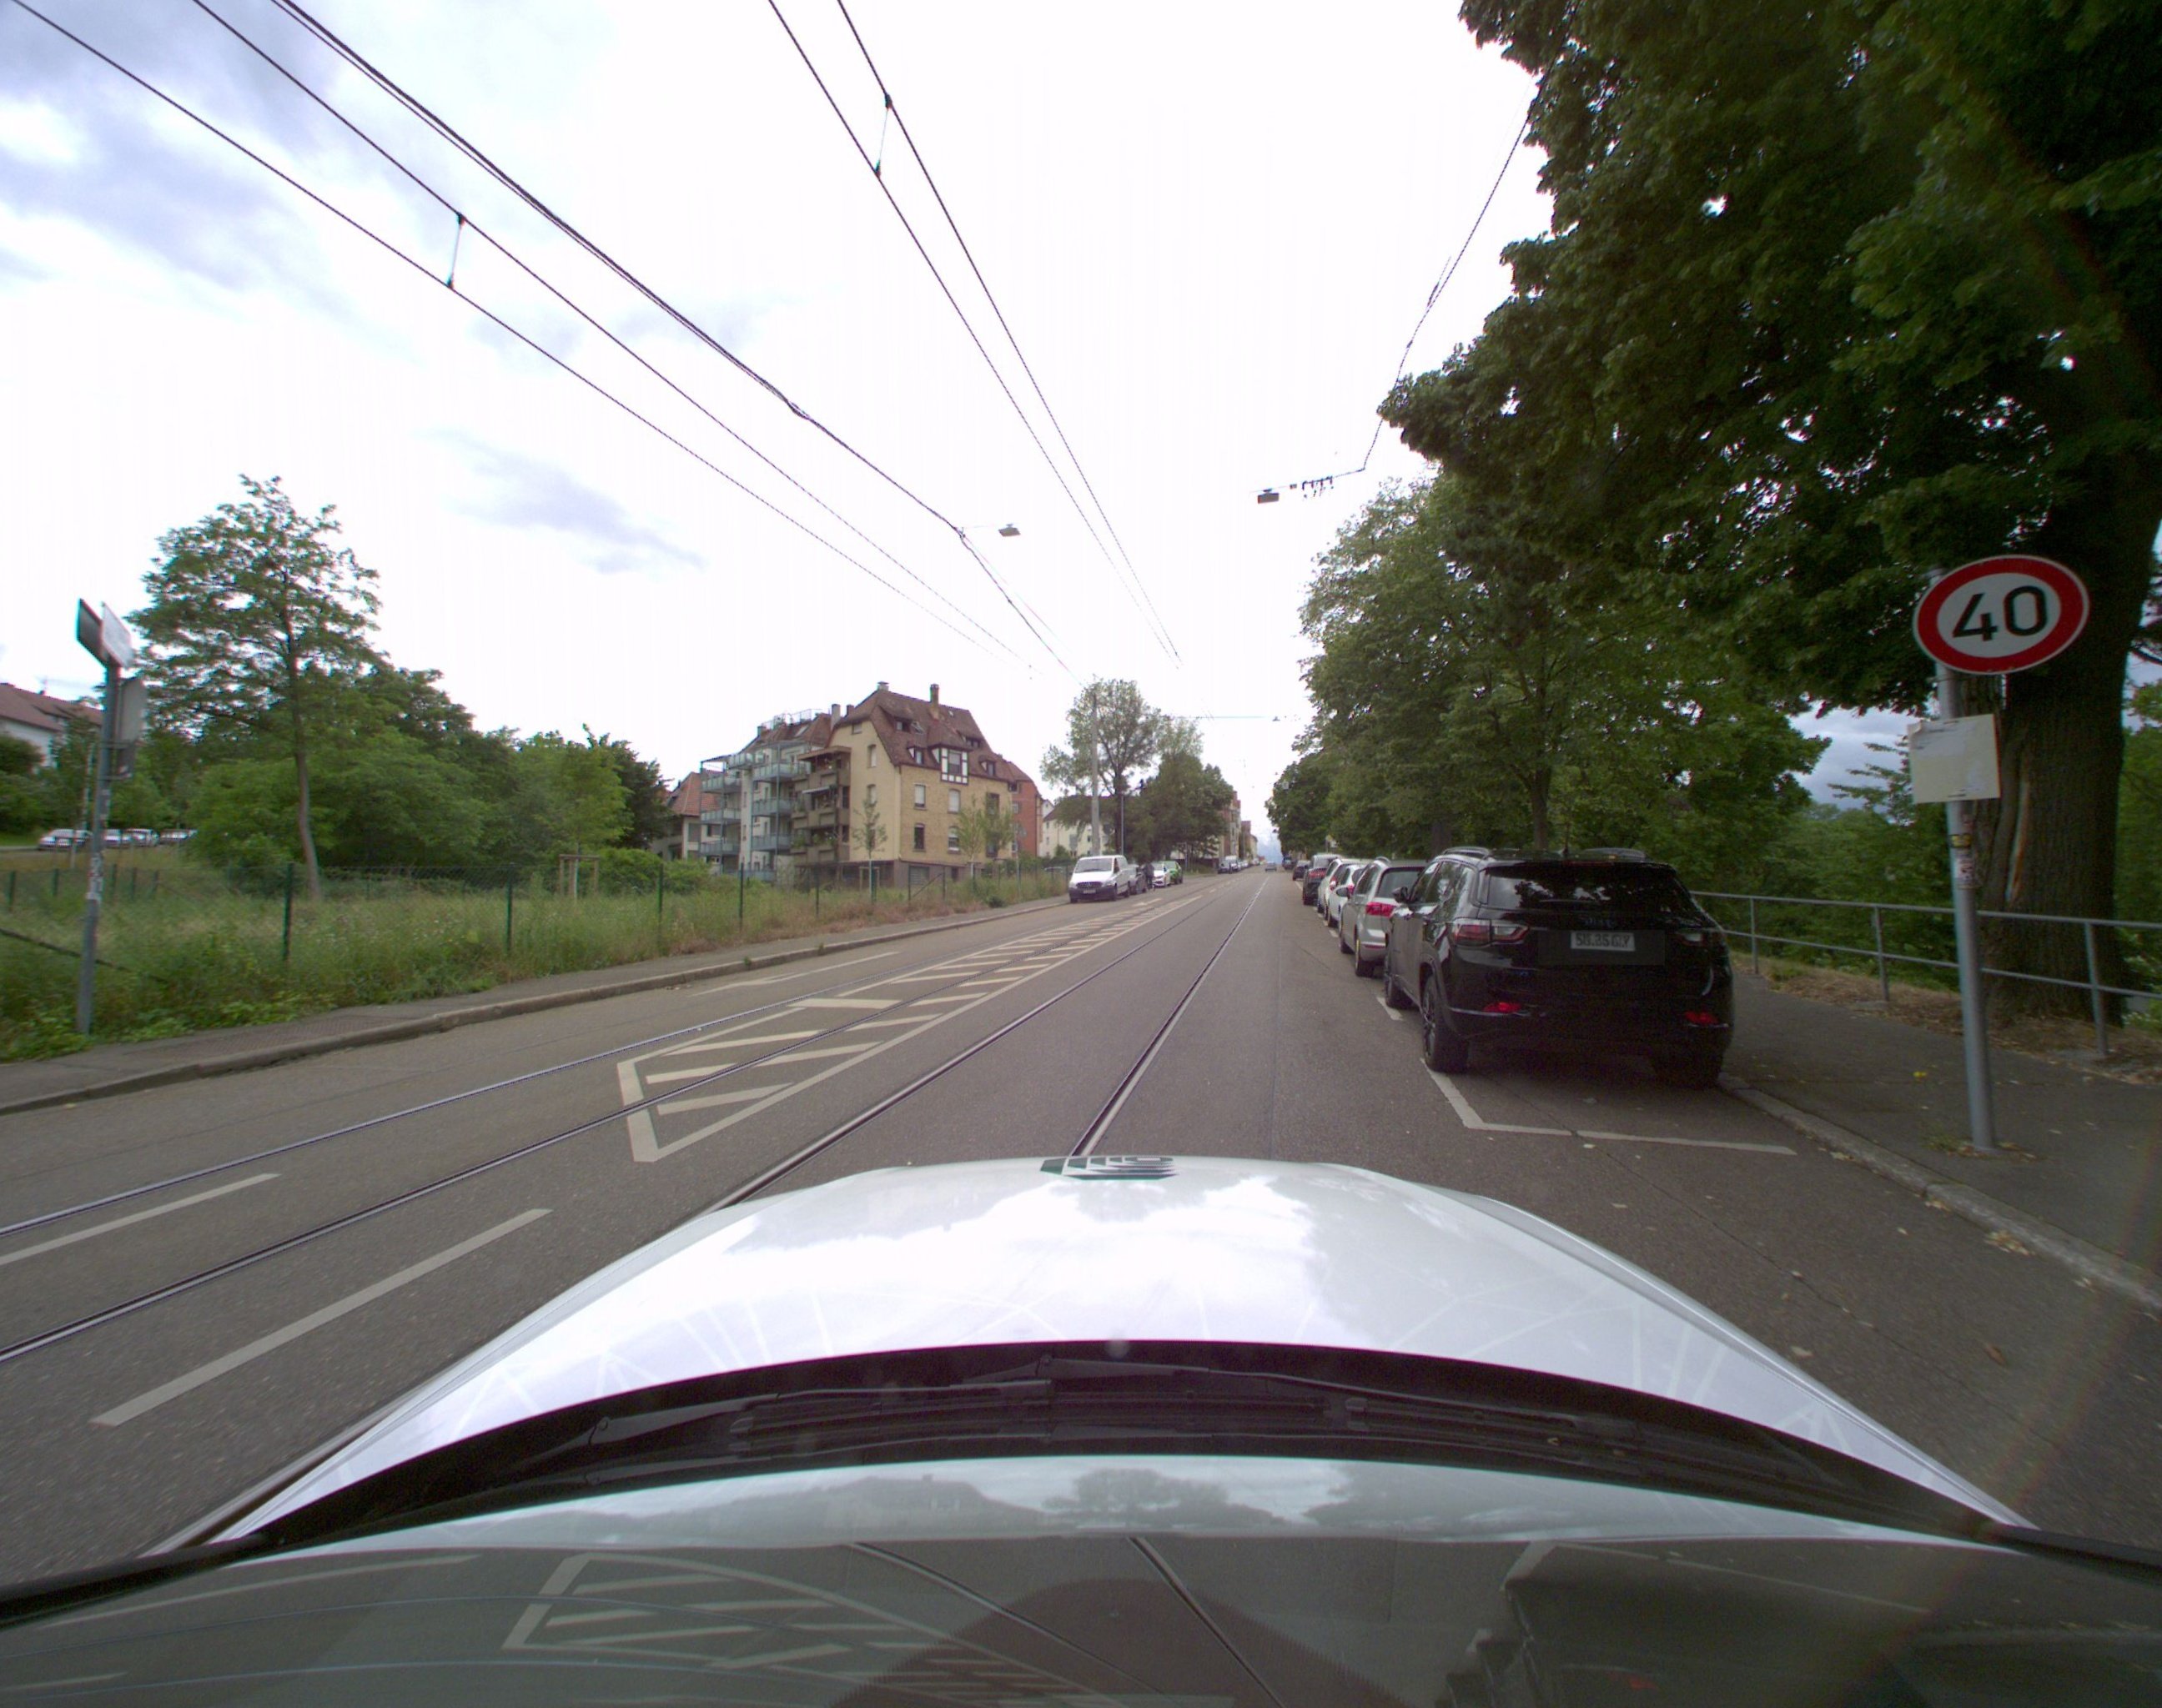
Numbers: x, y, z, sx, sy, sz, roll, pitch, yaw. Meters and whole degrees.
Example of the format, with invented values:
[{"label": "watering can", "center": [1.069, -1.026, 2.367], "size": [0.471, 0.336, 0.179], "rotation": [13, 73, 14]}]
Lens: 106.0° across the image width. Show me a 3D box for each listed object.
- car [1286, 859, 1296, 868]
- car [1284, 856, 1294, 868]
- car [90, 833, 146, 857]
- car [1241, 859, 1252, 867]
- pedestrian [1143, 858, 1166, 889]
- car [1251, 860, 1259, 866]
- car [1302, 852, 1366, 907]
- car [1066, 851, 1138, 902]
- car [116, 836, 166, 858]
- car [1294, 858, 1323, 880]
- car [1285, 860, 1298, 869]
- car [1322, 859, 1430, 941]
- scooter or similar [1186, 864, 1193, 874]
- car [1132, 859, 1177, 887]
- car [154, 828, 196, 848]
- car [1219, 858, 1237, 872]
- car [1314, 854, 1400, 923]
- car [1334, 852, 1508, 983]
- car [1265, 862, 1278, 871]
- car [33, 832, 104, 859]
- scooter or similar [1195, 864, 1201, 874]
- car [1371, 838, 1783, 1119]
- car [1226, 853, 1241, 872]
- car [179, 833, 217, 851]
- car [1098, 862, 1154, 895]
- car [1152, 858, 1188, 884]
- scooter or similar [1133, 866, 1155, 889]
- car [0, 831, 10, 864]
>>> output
[{"label": "car", "center": [40.943, 1.909, 158.744], "size": [1.979, 1.717, 4.015], "rotation": [-2, -2, 14]}, {"label": "car", "center": [45.081, 1.697, 176.651], "size": [1.979, 2.574, 4.722], "rotation": [-2, -2, 14]}, {"label": "car", "center": [-72.957, -0.646, 61.764], "size": [1.846, 1.658, 4.085], "rotation": [1, -2, -38]}, {"label": "car", "center": [34.444, 1.959, 169.419], "size": [1.910, 1.601, 4.015], "rotation": [-1, -1, 14]}, {"label": "pedestrian", "center": [3.809, 1.014, 42.304], "size": [0.810, 1.629, 0.906], "rotation": [1, -2, -34]}, {"label": "car", "center": [44.358, 2.243, 207.840], "size": [1.979, 1.601, 4.014], "rotation": [-1, -1, 14]}, {"label": "car", "center": [8.662, 0.809, 28.222], "size": [1.864, 1.677, 5.082], "rotation": [1, 0, 14]}, {"label": "car", "center": [0.969, 0.943, 34.341], "size": [2.022, 1.881, 4.901], "rotation": [-4, -2, 13]}, {"label": "car", "center": [-76.565, -0.527, 66.357], "size": [1.846, 1.658, 4.085], "rotation": [1, -2, -38]}, {"label": "car", "center": [16.128, 1.051, 57.910], "size": [1.815, 1.430, 4.865], "rotation": [1, -1, 14]}, {"label": "car", "center": [35.903, 1.806, 138.823], "size": [1.979, 1.530, 4.329], "rotation": [-1, -1, 15]}, {"label": "car", "center": [6.213, 0.884, 17.538], "size": [1.618, 1.516, 4.077], "rotation": [2, 0, 12]}, {"label": "scooter or similar", "center": [14.534, 1.973, 108.799], "size": [0.686, 1.339, 1.645], "rotation": [-1, -1, 15]}, {"label": "car", "center": [4.378, 1.102, 48.034], "size": [1.871, 1.526, 4.680], "rotation": [-2, -1, 14]}, {"label": "car", "center": [-83.810, -1.499, 75.420], "size": [1.846, 1.658, 4.085], "rotation": [1, -2, -38]}, {"label": "car", "center": [20.338, 1.555, 112.597], "size": [1.979, 1.808, 4.016], "rotation": [-1, -1, 15]}, {"label": "car", "center": [7.442, 0.858, 22.293], "size": [1.714, 1.631, 4.102], "rotation": [3, 0, 12]}, {"label": "car", "center": [4.818, 0.791, 12.139], "size": [1.721, 1.576, 4.380], "rotation": [-1, -1, 14]}, {"label": "car", "center": [30.803, 2.026, 131.748], "size": [1.979, 1.499, 4.327], "rotation": [-1, -1, 14]}, {"label": "car", "center": [-65.671, -0.515, 52.900], "size": [1.846, 1.658, 4.086], "rotation": [1, -2, -37]}, {"label": "scooter or similar", "center": [15.582, 1.964, 108.521], "size": [0.686, 1.339, 1.645], "rotation": [-1, -1, 15]}, {"label": "car", "center": [3.729, 0.726, 7.153], "size": [1.890, 1.615, 4.618], "rotation": [0, 0, 15]}, {"label": "car", "center": [23.769, 1.358, 126.738], "size": [2.216, 2.764, 5.818], "rotation": [-1, -1, 12]}, {"label": "car", "center": [-87.859, -1.189, 81.083], "size": [1.846, 1.658, 4.085], "rotation": [1, -2, -38]}, {"label": "car", "center": [2.265, 1.158, 39.923], "size": [1.883, 1.433, 4.528], "rotation": [-2, -1, 14]}, {"label": "car", "center": [5.834, 1.060, 53.236], "size": [1.711, 1.580, 4.196], "rotation": [-2, -1, 14]}, {"label": "scooter or similar", "center": [3.336, 1.248, 42.988], "size": [0.810, 1.196, 0.830], "rotation": [1, -2, -34]}, {"label": "car", "center": [-54.964, -0.342, 39.950], "size": [1.846, 1.658, 4.086], "rotation": [1, -2, -37]}]
